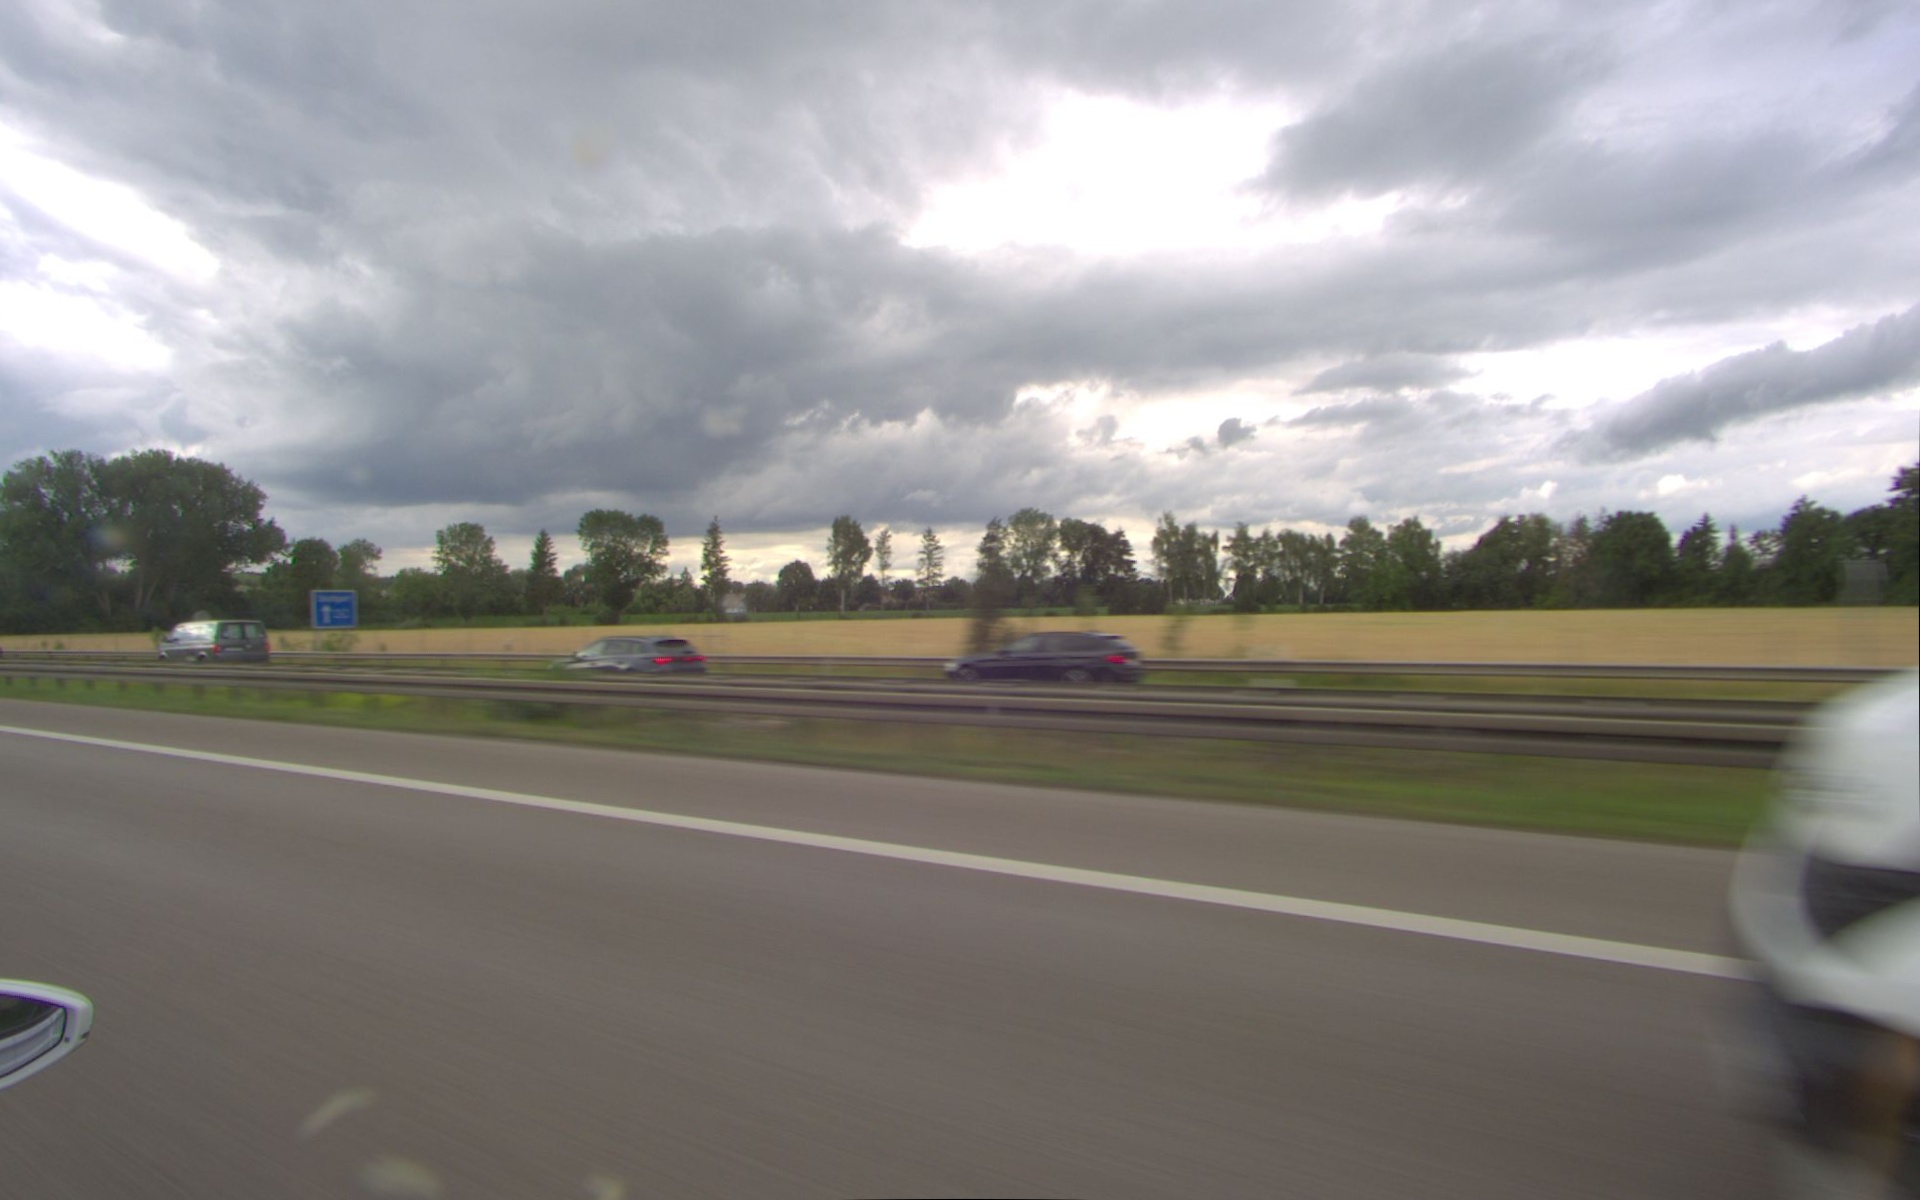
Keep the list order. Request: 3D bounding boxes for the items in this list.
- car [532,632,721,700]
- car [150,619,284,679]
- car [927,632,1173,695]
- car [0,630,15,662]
[{"bbox_3d":[-8.065,1.531,24.125,4.523,1.503,1.749,-1,-2,29],"label":"car"},{"bbox_3d":[-27.238,1.749,36.679,4.883,2.089,2.142,-1,-2,29],"label":"car"},{"bbox_3d":[2.055,1.446,23.772,5.633,1.333,1.825,-1,-2,32],"label":"car"},{"bbox_3d":[-50.969,2.389,51.603,4.849,1.571,1.915,-1,0,29],"label":"car"}]
